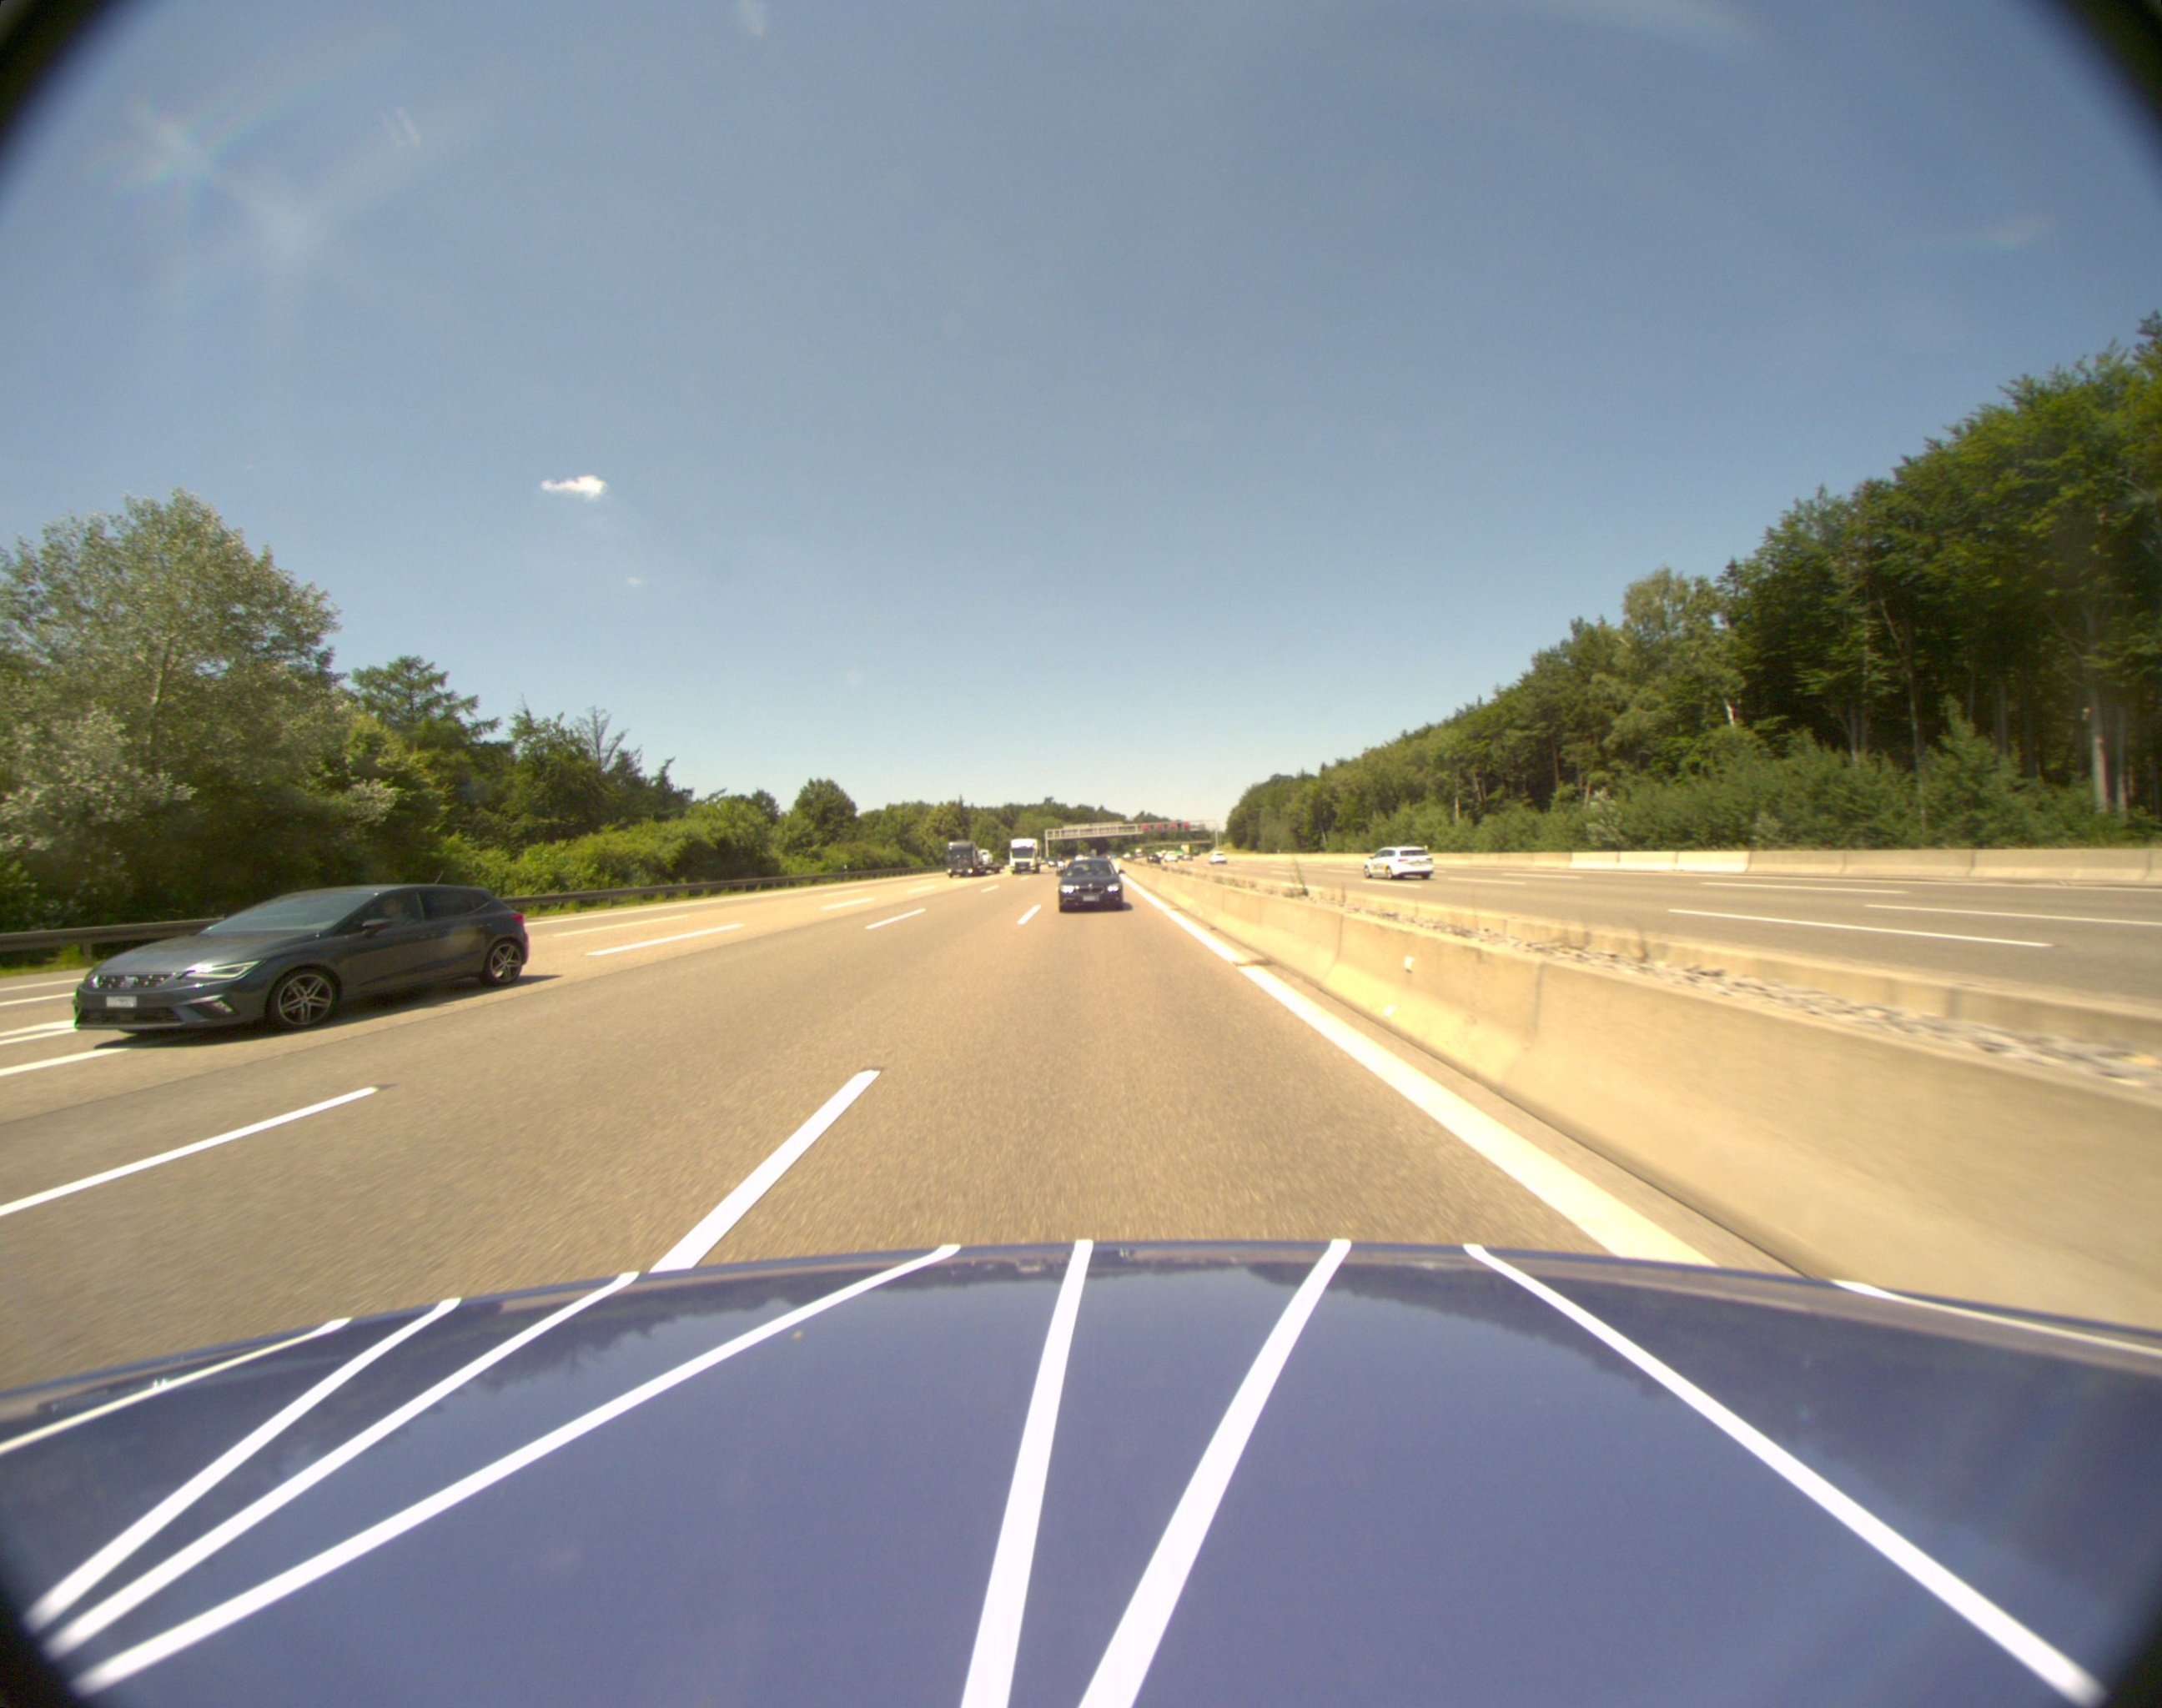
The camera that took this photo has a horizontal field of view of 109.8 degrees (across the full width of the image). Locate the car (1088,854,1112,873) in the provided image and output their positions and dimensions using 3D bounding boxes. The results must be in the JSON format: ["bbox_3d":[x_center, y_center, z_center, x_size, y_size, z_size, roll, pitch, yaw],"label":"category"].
[{"bbox_3d":[1.619,0.757,65.259,1.834,1.454,4.203,-3,1,-1],"label":"car"}]

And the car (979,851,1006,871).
[{"bbox_3d":[-8.856,0.672,76.622,1.998,1.885,4.869,-3,1,1],"label":"car"}]

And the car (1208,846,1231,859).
[{"bbox_3d":[16.331,-0.198,89.635,1.998,1.392,3.867,-3,1,2],"label":"car"}]

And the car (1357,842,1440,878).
[{"bbox_3d":[14.314,0.253,34.515,1.734,1.455,4.783,-2,0,0],"label":"car"}]

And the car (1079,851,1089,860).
[{"bbox_3d":[0.701,0.329,158.600,1.998,1.671,4.127,-3,1,2],"label":"car"}]

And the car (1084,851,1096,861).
[{"bbox_3d":[1.736,0.409,144.574,1.998,1.671,4.127,-3,1,2],"label":"car"}]

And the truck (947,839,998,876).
[{"bbox_3d":[-9.438,0.238,67.558,2.660,2.839,10.885,-3,1,1],"label":"truck"}]

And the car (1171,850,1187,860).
[{"bbox_3d":[13.955,0.088,108.494,1.764,1.346,4.000,-3,1,2],"label":"car"}]

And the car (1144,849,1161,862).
[{"bbox_3d":[9.762,0.161,103.875,1.998,1.636,4.000,-3,1,1],"label":"car"}]

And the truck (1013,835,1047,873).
[{"bbox_3d":[-4.719,-0.053,72.401,2.428,3.237,8.689,-3,1,1],"label":"truck"}]

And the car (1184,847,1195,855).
[{"bbox_3d":[19.700,-0.609,137.713,1.649,1.346,2.908,-3,1,1],"label":"car"}]

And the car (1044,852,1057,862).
[{"bbox_3d":[-5.488,0.532,136.760,1.998,1.671,4.127,-3,1,2],"label":"car"}]

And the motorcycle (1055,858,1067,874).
[{"bbox_3d":[-1.683,1.001,65.188,0.925,1.311,2.997,-3,0,-1],"label":"motorcycle"}]

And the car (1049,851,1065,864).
[{"bbox_3d":[-3.451,0.455,107.999,1.998,1.671,4.127,-3,1,1],"label":"car"}]

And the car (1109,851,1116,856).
[{"bbox_3d":[9.652,-0.153,234.837,1.910,1.450,4.128,-3,1,4],"label":"car"}]

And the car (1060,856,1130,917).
[{"bbox_3d":[0.386,0.864,22.140,1.741,1.450,4.542,-3,0,0],"label":"car"}]

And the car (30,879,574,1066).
[{"bbox_3d":[-8.666,1.164,9.255,1.647,1.430,4.635,-2,1,3],"label":"car"}]

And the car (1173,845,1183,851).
[{"bbox_3d":[21.014,-1.253,164.555,1.649,1.346,4.000,-2,0,2],"label":"car"}]

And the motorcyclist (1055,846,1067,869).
[{"bbox_3d":[-1.729,0.320,64.993,0.914,1.926,0.905,-3,1,0],"label":"motorcyclist"}]

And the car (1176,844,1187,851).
[{"bbox_3d":[21.006,-1.391,158.859,1.649,1.346,4.000,-3,1,2],"label":"car"}]

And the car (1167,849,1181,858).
[{"bbox_3d":[14.616,-0.065,119.926,1.764,1.346,4.000,-3,1,2],"label":"car"}]
